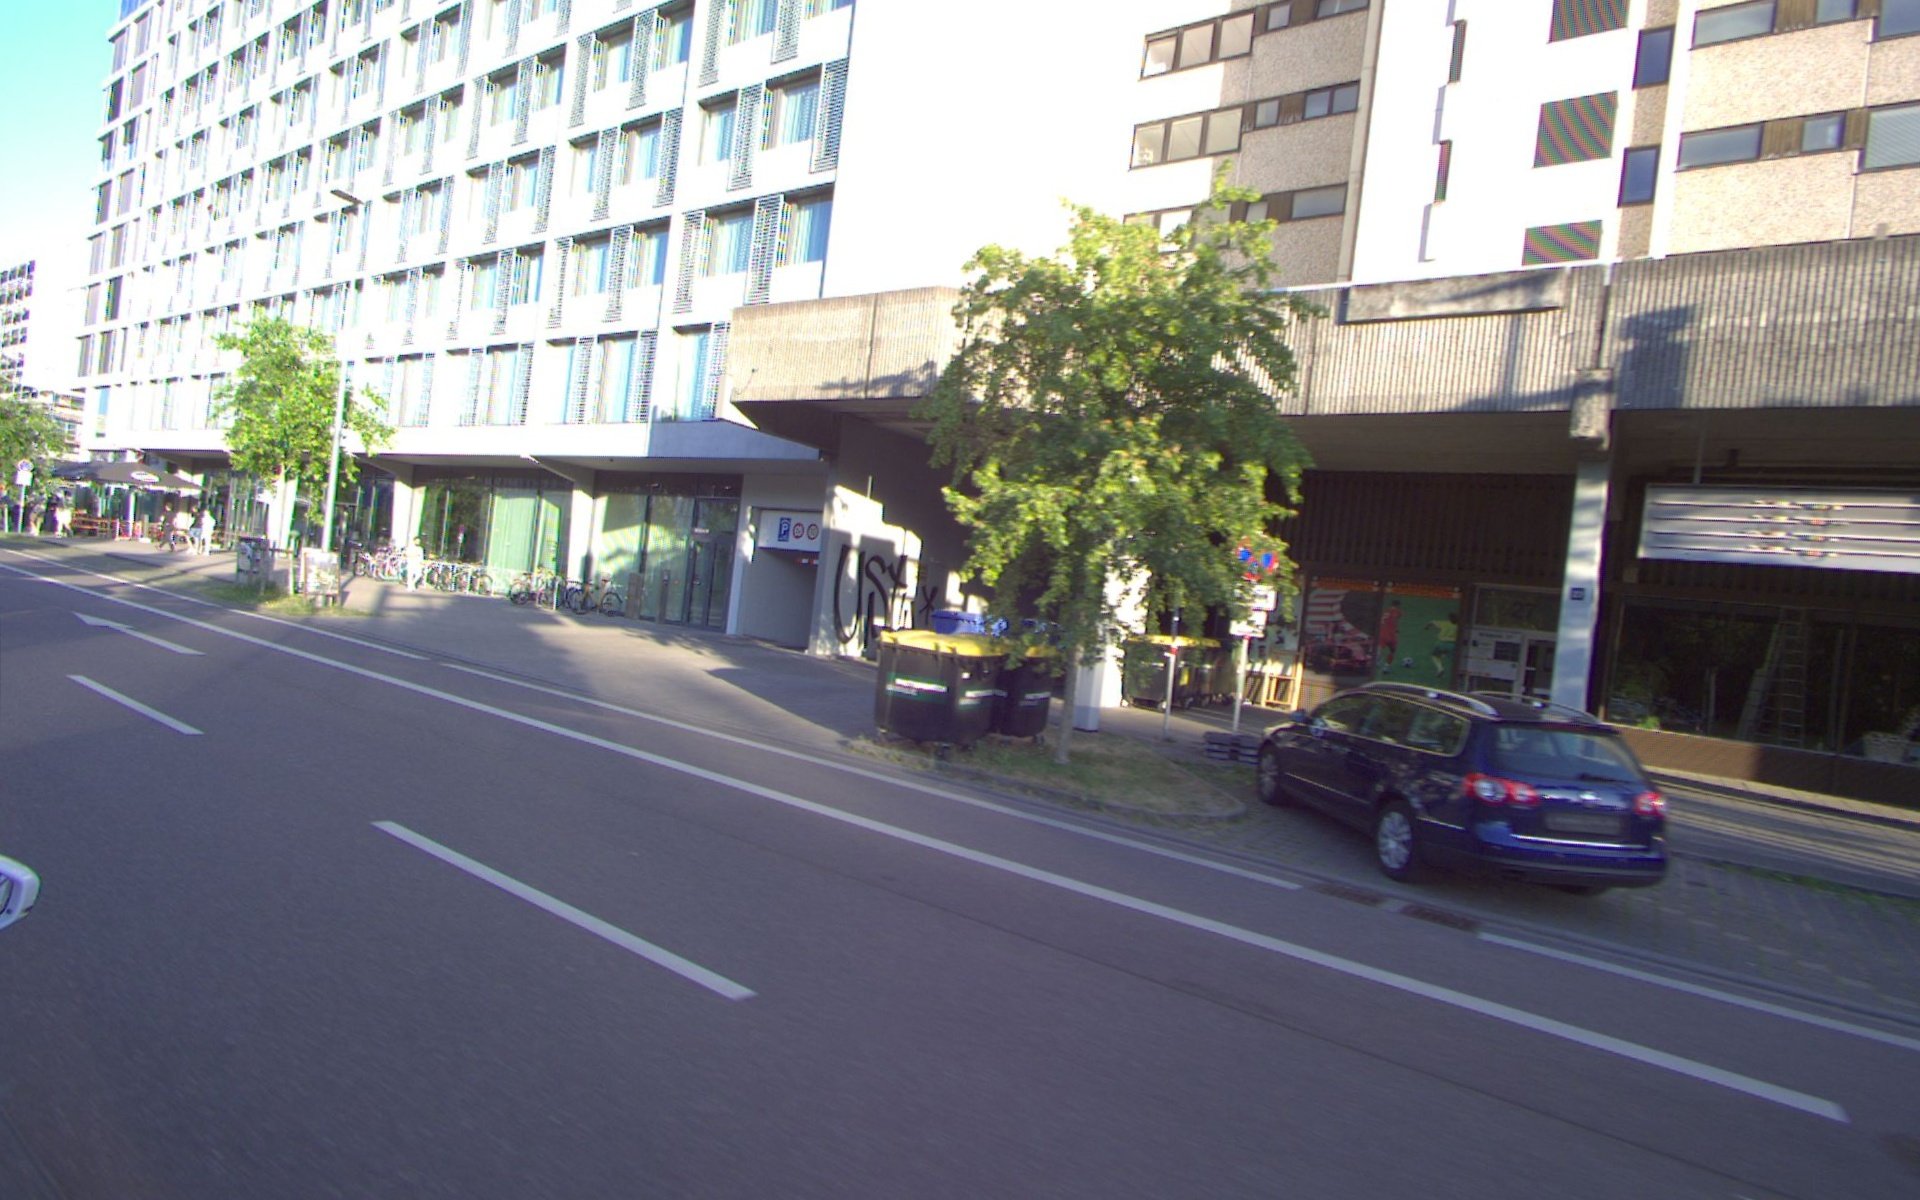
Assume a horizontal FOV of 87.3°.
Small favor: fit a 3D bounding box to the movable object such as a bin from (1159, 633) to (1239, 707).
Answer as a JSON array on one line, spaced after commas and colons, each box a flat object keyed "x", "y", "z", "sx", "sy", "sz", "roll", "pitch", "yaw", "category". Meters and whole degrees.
[{"x": 4.893, "y": 1.429, "z": 20.561, "sx": 1.106, "sy": 1.329, "sz": 1.182, "roll": 7, "pitch": 0, "yaw": 34, "category": "movable object such as a bin"}]

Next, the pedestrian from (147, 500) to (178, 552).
[{"x": -30.087, "y": -2.778, "z": 37.938, "sx": 0.928, "sy": 1.873, "sz": 0.741, "roll": 7, "pitch": 3, "yaw": 45, "category": "pedestrian"}]

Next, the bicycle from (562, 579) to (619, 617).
[{"x": -10.232, "y": -0.039, "z": 27.884, "sx": 0.450, "sy": 0.902, "sz": 1.422, "roll": 7, "pitch": 0, "yaw": 34, "category": "bicycle"}]

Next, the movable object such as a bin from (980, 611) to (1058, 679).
[{"x": 1.321, "y": 1.019, "z": 22.574, "sx": 1.262, "sy": 1.346, "sz": 1.033, "roll": 7, "pitch": 1, "yaw": 34, "category": "movable object such as a bin"}]

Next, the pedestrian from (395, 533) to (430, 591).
[{"x": -16.334, "y": -1.121, "z": 30.032, "sx": 0.632, "sy": 1.640, "sz": 0.576, "roll": 7, "pitch": 3, "yaw": 32, "category": "pedestrian"}]

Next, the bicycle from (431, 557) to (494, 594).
[{"x": -15.560, "y": -0.768, "z": 31.500, "sx": 0.542, "sy": 0.999, "sz": 1.700, "roll": 7, "pitch": 2, "yaw": 32, "category": "bicycle"}]

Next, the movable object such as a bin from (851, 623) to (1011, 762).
[{"x": -0.315, "y": 1.002, "z": 11.402, "sx": 1.338, "sy": 1.319, "sz": 1.085, "roll": 7, "pitch": 2, "yaw": 29, "category": "movable object such as a bin"}]

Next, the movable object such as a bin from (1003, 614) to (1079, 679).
[{"x": 1.891, "y": 1.090, "z": 23.477, "sx": 1.262, "sy": 1.346, "sz": 1.074, "roll": 7, "pitch": 1, "yaw": 34, "category": "movable object such as a bin"}]

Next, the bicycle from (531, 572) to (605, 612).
[{"x": -11.315, "y": -0.218, "z": 29.097, "sx": 0.610, "sy": 0.970, "sz": 2.018, "roll": 7, "pitch": 1, "yaw": 29, "category": "bicycle"}]

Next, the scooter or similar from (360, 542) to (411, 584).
[{"x": -19.120, "y": -1.212, "z": 33.502, "sx": 0.598, "sy": 1.249, "sz": 1.268, "roll": 7, "pitch": 2, "yaw": 31, "category": "scooter or similar"}]

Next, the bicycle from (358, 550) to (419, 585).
[{"x": -19.410, "y": -1.088, "z": 34.209, "sx": 0.542, "sy": 0.999, "sz": 1.700, "roll": 7, "pitch": 1, "yaw": 32, "category": "bicycle"}]

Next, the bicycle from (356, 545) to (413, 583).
[{"x": -19.955, "y": -1.243, "z": 34.918, "sx": 0.601, "sy": 1.170, "sz": 1.610, "roll": 7, "pitch": 2, "yaw": 23, "category": "bicycle"}]

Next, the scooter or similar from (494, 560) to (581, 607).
[{"x": -12.573, "y": -0.471, "z": 30.019, "sx": 0.611, "sy": 1.198, "sz": 2.372, "roll": 7, "pitch": 1, "yaw": 34, "category": "scooter or similar"}]

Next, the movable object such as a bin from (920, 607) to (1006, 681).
[{"x": 0.064, "y": 0.894, "z": 20.718, "sx": 1.262, "sy": 1.347, "sz": 1.104, "roll": 7, "pitch": 2, "yaw": 34, "category": "movable object such as a bin"}]

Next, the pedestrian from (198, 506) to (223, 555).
[{"x": -29.235, "y": -2.693, "z": 39.230, "sx": 0.767, "sy": 1.836, "sz": 0.616, "roll": 7, "pitch": 3, "yaw": 45, "category": "pedestrian"}]

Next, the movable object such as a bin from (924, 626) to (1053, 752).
[{"x": 0.364, "y": 1.070, "z": 12.581, "sx": 1.141, "sy": 1.365, "sz": 1.014, "roll": 7, "pitch": 3, "yaw": 30, "category": "movable object such as a bin"}]

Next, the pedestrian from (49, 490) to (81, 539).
[{"x": -36.644, "y": -3.497, "z": 41.183, "sx": 0.855, "sy": 1.912, "sz": 0.822, "roll": 6, "pitch": 1, "yaw": 44, "category": "pedestrian"}]

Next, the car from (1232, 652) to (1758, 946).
[{"x": 4.330, "y": 1.507, "z": 9.247, "sx": 1.905, "sy": 1.528, "sz": 4.662, "roll": 6, "pitch": 1, "yaw": -5, "category": "car"}]

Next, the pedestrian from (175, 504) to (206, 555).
[{"x": -29.436, "y": -2.709, "z": 38.483, "sx": 0.928, "sy": 1.848, "sz": 0.754, "roll": 7, "pitch": 2, "yaw": 45, "category": "pedestrian"}]

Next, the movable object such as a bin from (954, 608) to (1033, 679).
[{"x": 0.734, "y": 0.937, "z": 21.690, "sx": 1.183, "sy": 1.346, "sz": 1.074, "roll": 7, "pitch": 1, "yaw": 34, "category": "movable object such as a bin"}]

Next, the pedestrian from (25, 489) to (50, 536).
[{"x": -37.440, "y": -3.533, "z": 40.844, "sx": 0.573, "sy": 1.809, "sz": 0.820, "roll": 4, "pitch": 1, "yaw": -38, "category": "pedestrian"}]

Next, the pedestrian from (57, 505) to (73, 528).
[{"x": -53.418, "y": -4.985, "z": 60.054, "sx": 0.609, "sy": 1.337, "sz": 0.614, "roll": 3, "pitch": 3, "yaw": -36, "category": "pedestrian"}]

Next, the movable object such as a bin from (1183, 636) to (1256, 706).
[{"x": 5.582, "y": 1.521, "z": 21.607, "sx": 1.070, "sy": 1.329, "sz": 1.182, "roll": 7, "pitch": 0, "yaw": 34, "category": "movable object such as a bin"}]

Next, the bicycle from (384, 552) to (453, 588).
[{"x": -17.739, "y": -0.975, "z": 32.995, "sx": 0.556, "sy": 1.023, "sz": 1.885, "roll": 7, "pitch": 2, "yaw": 33, "category": "bicycle"}]

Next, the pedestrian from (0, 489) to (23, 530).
[{"x": -42.870, "y": -4.074, "z": 45.378, "sx": 0.749, "sy": 1.758, "sz": 0.684, "roll": 7, "pitch": 3, "yaw": 35, "category": "pedestrian"}]

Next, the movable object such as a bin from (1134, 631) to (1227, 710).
[{"x": 4.248, "y": 1.345, "z": 19.359, "sx": 1.283, "sy": 1.315, "sz": 1.182, "roll": 7, "pitch": 0, "yaw": 34, "category": "movable object such as a bin"}]

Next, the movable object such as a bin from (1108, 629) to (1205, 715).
[{"x": 3.559, "y": 1.271, "z": 18.172, "sx": 1.246, "sy": 1.341, "sz": 1.181, "roll": 7, "pitch": 3, "yaw": 34, "category": "movable object such as a bin"}]

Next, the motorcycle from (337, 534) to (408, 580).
[{"x": -20.572, "y": -1.472, "z": 35.274, "sx": 0.659, "sy": 1.404, "sz": 2.117, "roll": 7, "pitch": 1, "yaw": 21, "category": "motorcycle"}]
